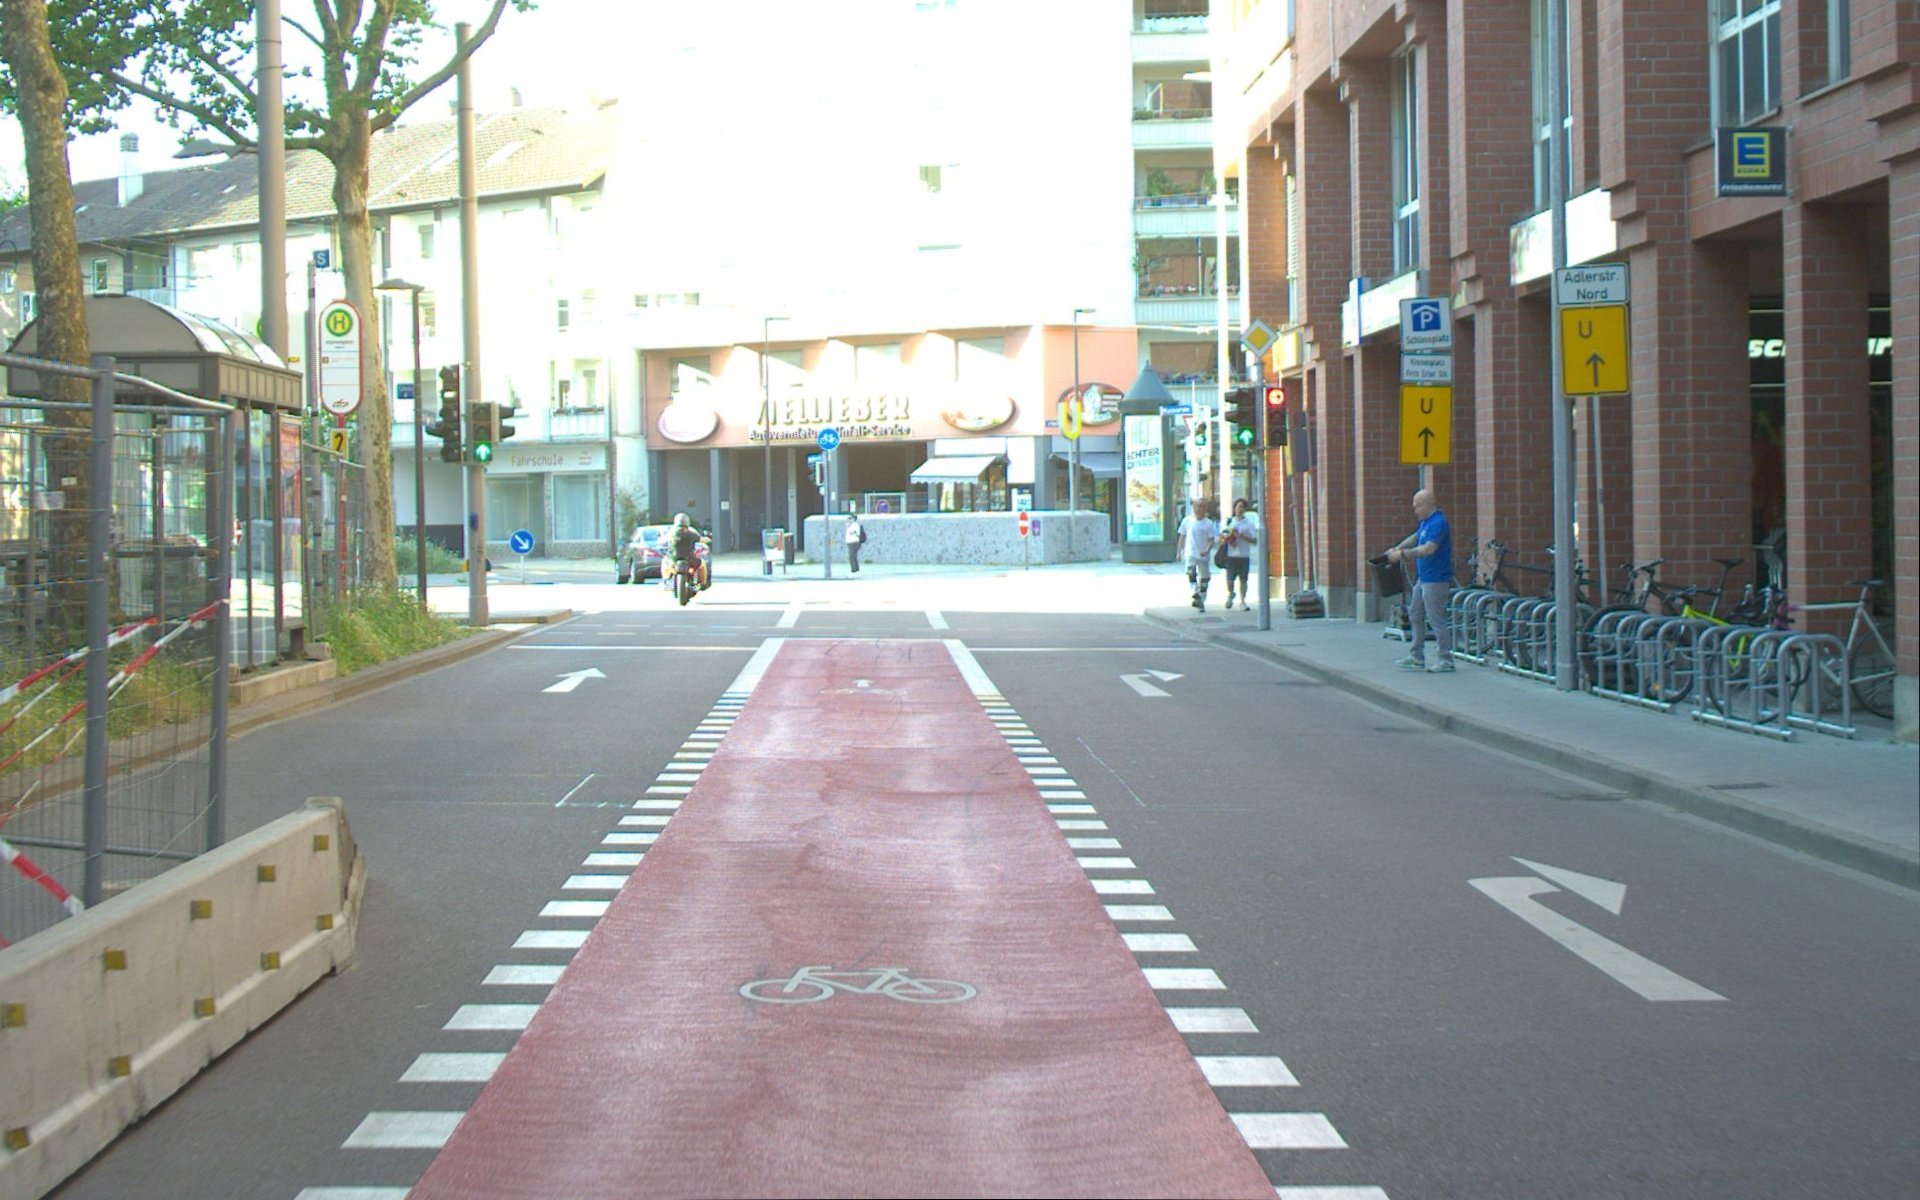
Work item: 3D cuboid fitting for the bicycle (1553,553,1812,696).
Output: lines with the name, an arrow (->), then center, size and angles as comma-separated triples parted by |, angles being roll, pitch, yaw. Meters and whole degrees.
bicycle -> 5.808, 0.194, 27.687 | 1.933, 1.053, 0.572 | -2, 1, 2

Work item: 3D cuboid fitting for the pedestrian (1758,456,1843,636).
pedestrian -> 8.459, -0.543, 34.601 | 0.658, 1.789, 0.609 | -1, 1, -6

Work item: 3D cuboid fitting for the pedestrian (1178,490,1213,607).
pedestrian -> 3.625, -0.798, 52.942 | 0.476, 1.786, 0.541 | 0, 1, -2

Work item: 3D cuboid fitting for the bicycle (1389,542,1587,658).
bicycle -> 5.300, -0.005, 34.545 | 1.891, 1.115, 0.475 | -1, 1, -1

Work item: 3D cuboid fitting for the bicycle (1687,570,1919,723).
bicycle -> 5.879, 0.312, 23.628 | 1.611, 0.951, 0.555 | -3, 1, 0

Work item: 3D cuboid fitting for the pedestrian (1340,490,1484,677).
pedestrian -> 4.253, -0.168, 32.440 | 1.194, 1.690, 0.885 | -2, 1, 2

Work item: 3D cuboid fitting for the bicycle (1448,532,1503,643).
bicycle -> 5.702, -0.155, 38.067 | 0.339, 1.179, 1.678 | -1, 2, 0

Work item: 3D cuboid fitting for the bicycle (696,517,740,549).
bicycle -> -8.257, -2.293, 117.234 | 1.637, 1.035, 0.495 | 3, 2, 44

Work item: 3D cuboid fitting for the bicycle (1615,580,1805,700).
bicycle -> 5.749, 0.301, 26.379 | 1.334, 0.838, 0.425 | -3, 1, 0

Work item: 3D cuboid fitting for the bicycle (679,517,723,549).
bicycle -> -8.788, -2.286, 116.733 | 1.637, 1.035, 0.495 | 3, 2, 44

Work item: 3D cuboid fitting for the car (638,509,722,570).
car -> -6.650, -1.461, 81.880 | 1.923, 1.384, 4.001 | 0, 2, -4

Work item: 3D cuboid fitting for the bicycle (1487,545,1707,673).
bicycle -> 5.768, 0.079, 31.179 | 1.891, 1.115, 0.475 | -1, 1, -1

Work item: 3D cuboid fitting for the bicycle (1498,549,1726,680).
bicycle -> 5.765, 0.125, 30.441 | 1.891, 1.115, 0.550 | -1, 1, -1

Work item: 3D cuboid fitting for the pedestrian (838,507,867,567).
pedestrian -> -2.846, -1.664, 91.028 | 0.539, 1.578, 0.557 | -2, 2, -44

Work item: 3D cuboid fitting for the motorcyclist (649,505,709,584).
motorcyclist -> -4.886, -0.977, 59.877 | 0.970, 1.342, 1.138 | 1, 1, -2

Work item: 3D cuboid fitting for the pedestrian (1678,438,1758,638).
pedestrian -> 7.705, -0.631, 34.965 | 0.607, 2.007, 0.661 | -1, 1, -7

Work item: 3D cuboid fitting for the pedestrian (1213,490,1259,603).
pedestrian -> 4.232, -0.818, 52.722 | 0.633, 1.719, 0.630 | 0, 1, -2

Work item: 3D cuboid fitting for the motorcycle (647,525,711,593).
motorcycle -> -4.885, -0.732, 59.929 | 0.973, 1.128, 2.805 | 1, 1, -2
